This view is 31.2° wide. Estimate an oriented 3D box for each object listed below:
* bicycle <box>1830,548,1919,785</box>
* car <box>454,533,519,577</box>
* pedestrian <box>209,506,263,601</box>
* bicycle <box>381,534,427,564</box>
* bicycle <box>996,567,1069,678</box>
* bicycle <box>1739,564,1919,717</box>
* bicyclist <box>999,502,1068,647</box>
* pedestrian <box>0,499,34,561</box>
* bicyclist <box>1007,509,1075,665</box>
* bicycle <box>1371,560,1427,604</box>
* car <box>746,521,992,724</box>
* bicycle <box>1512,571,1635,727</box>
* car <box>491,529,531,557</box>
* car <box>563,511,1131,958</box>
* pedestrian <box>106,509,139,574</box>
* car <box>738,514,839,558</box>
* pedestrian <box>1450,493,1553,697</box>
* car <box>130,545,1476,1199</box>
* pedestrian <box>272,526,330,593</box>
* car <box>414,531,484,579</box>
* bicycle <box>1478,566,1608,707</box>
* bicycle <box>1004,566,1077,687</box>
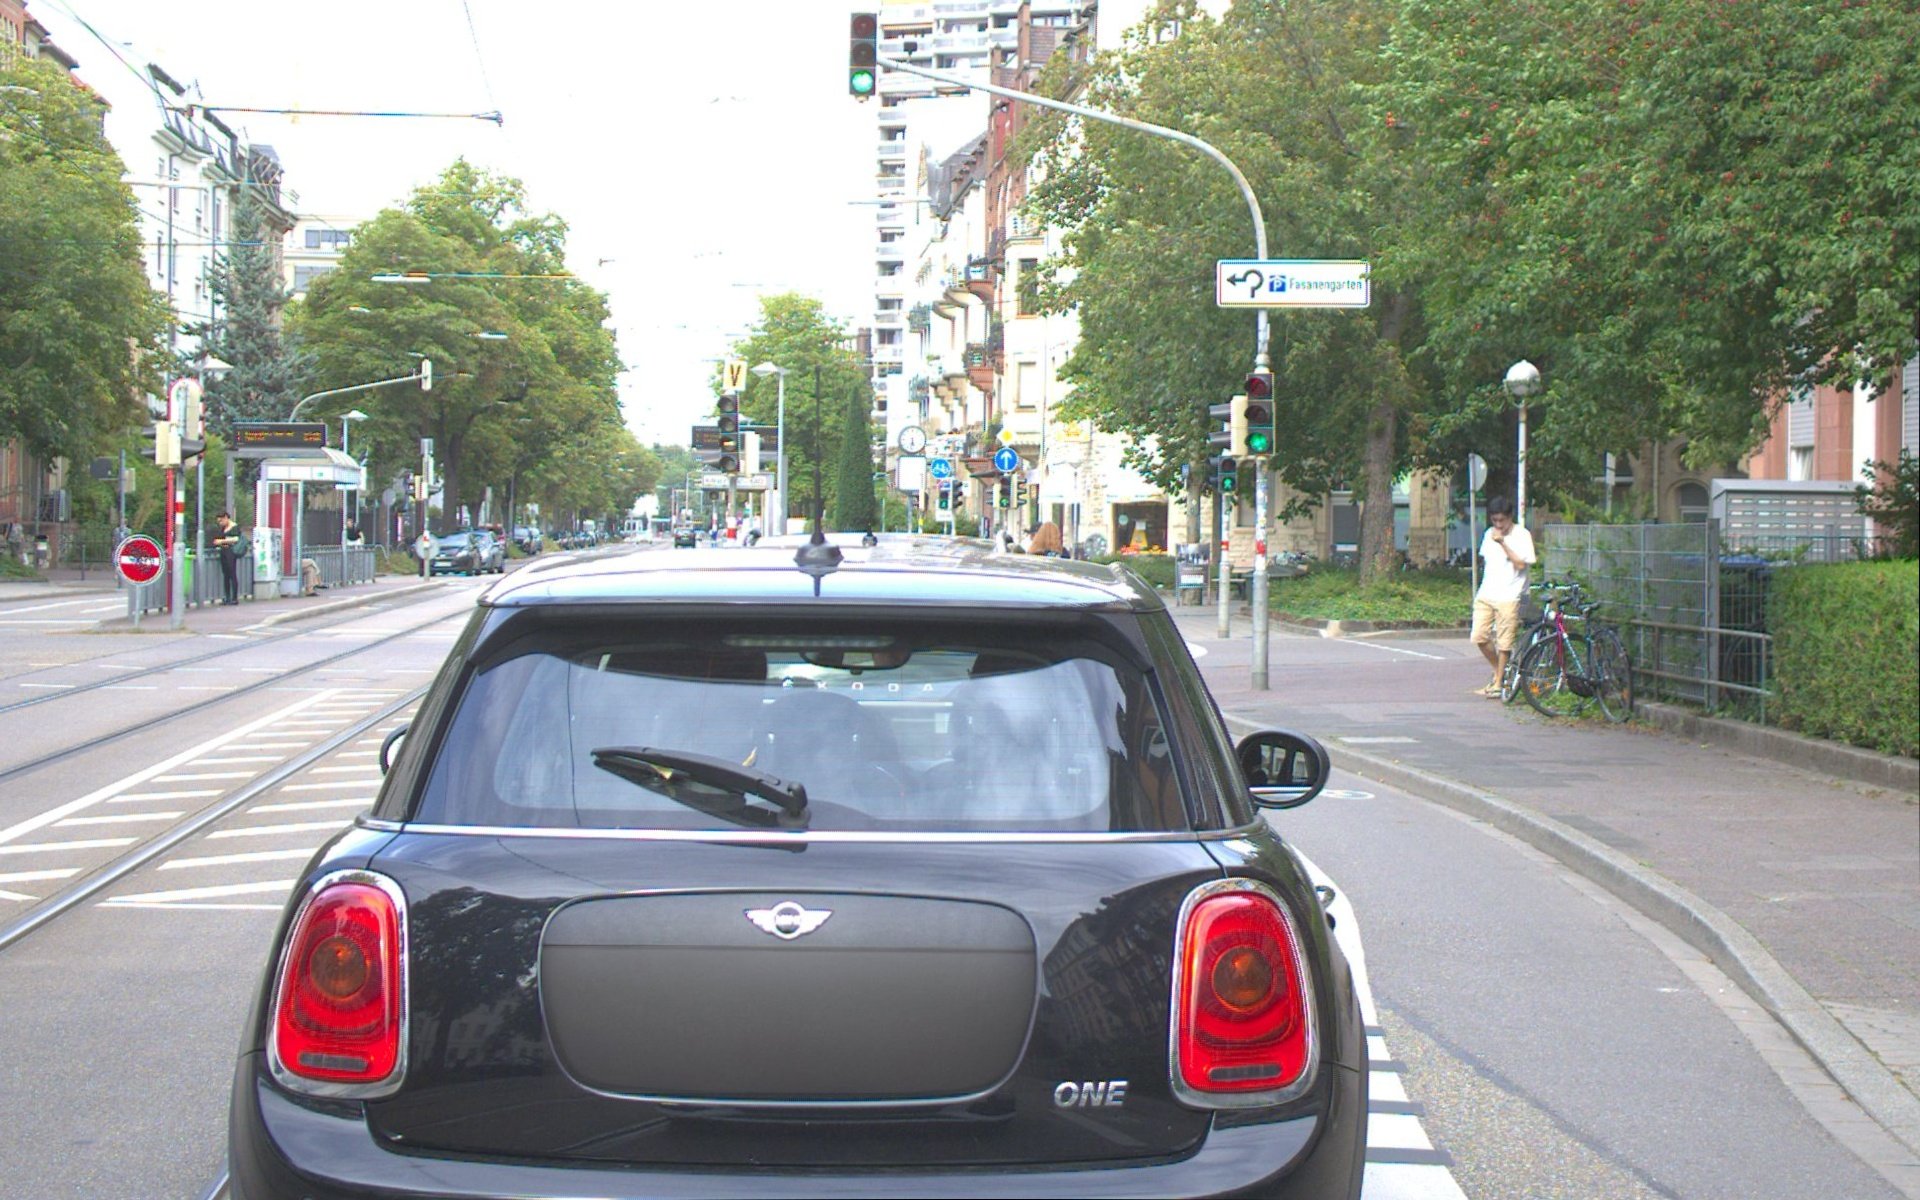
[{"bbox_3d":[5.404,0.353,19.437,0.516,1.277,1.550,1,1,-2],"label":"bicycle"},{"bbox_3d":[-16.235,-1.556,118.028,1.751,1.436,4.001,3,1,-2],"label":"car"},{"bbox_3d":[-12.493,-0.811,59.342,0.851,1.615,0.843,1,1,-9],"label":"pedestrian"},{"bbox_3d":[-21.014,-1.920,130.020,1.667,1.115,0.573,0,2,-43],"label":"bicycle"},{"bbox_3d":[0.787,0.235,37.701,0.684,1.166,1.697,1,1,-2],"label":"bicycle"},{"bbox_3d":[6.082,0.272,23.133,1.544,1.005,0.510,1,1,-5],"label":"bicycle"},{"bbox_3d":[0.796,-0.291,37.641,0.684,1.558,0.998,1,1,-2],"label":"bicyclist"},{"bbox_3d":[-26.184,-1.942,95.446,0.832,1.697,0.733,1,1,-9],"label":"pedestrian"},{"bbox_3d":[0.808,-0.141,34.604,0.594,1.545,1.014,1,1,-3],"label":"bicyclist"},{"bbox_3d":[11.484,-0.464,89.823,0.532,1.124,1.889,2,1,38],"label":"bicycle"},{"bbox_3d":[-0.721,0.122,26.990,1.751,1.436,4.480,1,1,-2],"label":"car"},{"bbox_3d":[4.579,0.348,25.727,0.508,1.085,1.550,-2,1,-4],"label":"bicycle"},{"bbox_3d":[-25.982,-3.298,198.903,1.993,1.546,4.001,1,1,-4],"label":"car"},{"bbox_3d":[-0.403,0.428,13.789,1.927,1.504,4.000,1,1,0],"label":"car"},{"bbox_3d":[-22.290,-1.551,91.516,0.694,1.713,0.758,1,1,-2],"label":"pedestrian"},{"bbox_3d":[-9.085,-3.408,182.516,5.026,2.265,2.396,0,1,-44],"label":"car"},{"bbox_3d":[4.730,-0.051,30.094,0.730,1.748,0.950,1,1,1],"label":"pedestrian"},{"bbox_3d":[-0.229,0.633,6.512,1.751,1.436,4.000,1,1,-1],"label":"car"},{"bbox_3d":[-12.895,-0.799,67.311,1.058,1.289,0.986,1,1,-9],"label":"pedestrian"},{"bbox_3d":[-16.379,-1.469,110.386,1.751,1.436,4.001,3,1,-2],"label":"car"},{"bbox_3d":[4.813,0.286,28.469,0.671,1.102,1.672,1,1,-4],"label":"bicycle"},{"bbox_3d":[0.801,0.251,34.616,0.598,1.166,1.697,1,1,-3],"label":"bicycle"}]
